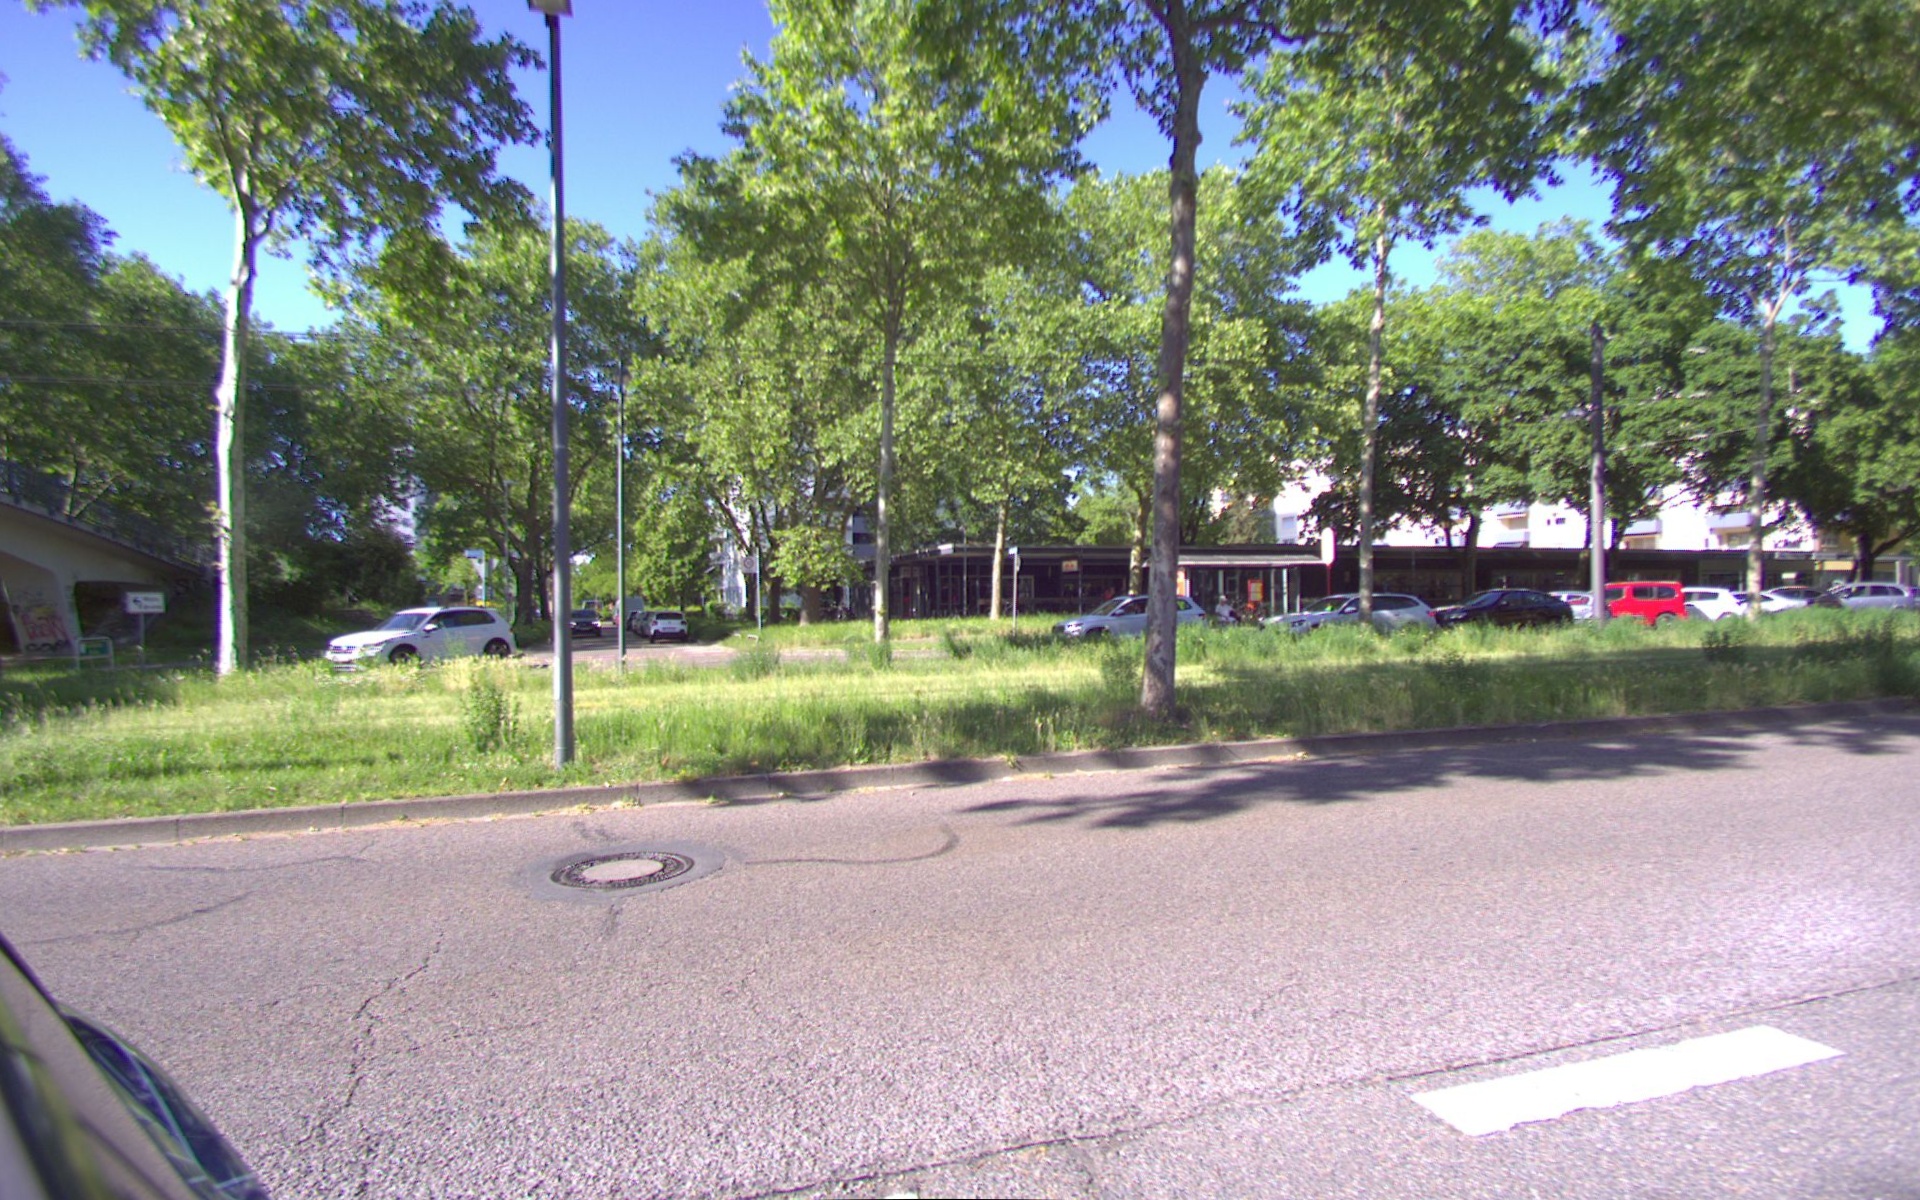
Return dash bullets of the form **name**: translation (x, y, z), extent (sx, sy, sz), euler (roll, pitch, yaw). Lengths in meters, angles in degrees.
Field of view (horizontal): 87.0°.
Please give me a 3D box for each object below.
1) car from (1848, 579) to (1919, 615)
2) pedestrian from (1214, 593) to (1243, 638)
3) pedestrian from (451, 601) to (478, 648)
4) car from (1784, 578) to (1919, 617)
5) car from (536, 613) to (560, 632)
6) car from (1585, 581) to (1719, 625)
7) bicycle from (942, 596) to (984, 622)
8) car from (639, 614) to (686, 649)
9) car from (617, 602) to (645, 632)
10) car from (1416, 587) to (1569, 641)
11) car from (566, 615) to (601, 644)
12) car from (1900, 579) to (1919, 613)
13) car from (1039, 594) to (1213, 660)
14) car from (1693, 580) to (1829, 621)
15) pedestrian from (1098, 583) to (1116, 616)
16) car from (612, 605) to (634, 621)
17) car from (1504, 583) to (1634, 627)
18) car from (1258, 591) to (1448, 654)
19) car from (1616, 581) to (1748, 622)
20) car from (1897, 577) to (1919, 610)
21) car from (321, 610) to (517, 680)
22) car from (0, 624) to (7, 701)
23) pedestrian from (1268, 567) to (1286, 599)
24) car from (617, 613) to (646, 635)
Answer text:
- **car**: translation (41.457, -0.155, 43.954), extent (3.983, 1.522, 1.782), euler (-1, 0, 29)
- **pedestrian**: translation (8.884, 0.504, 33.507), extent (0.639, 1.471, 0.652), euler (-1, 0, -13)
- **pedestrian**: translation (-18.998, 0.940, 38.835), extent (0.644, 1.796, 0.647), euler (-2, 0, 14)
- **car**: translation (37.643, -0.097, 42.825), extent (3.983, 1.522, 1.782), euler (-1, 0, 29)
- **car**: translation (-34.537, 1.841, 84.929), extent (1.769, 1.522, 4.013), euler (-1, 0, -21)
- **car**: translation (26.044, 0.129, 38.270), extent (3.983, 1.522, 1.782), euler (-1, 0, 29)
- **bicycle**: translation (0.127, 0.412, 44.829), extent (1.769, 1.116, 0.558), euler (-1, 0, -23)
- **car**: translation (-13.999, 1.424, 47.504), extent (1.769, 1.522, 4.013), euler (-1, 0, -21)
- **car**: translation (-28.438, 1.427, 87.450), extent (2.027, 2.455, 5.025), euler (-1, 0, -21)
- **car**: translation (16.484, 0.429, 31.414), extent (3.933, 1.522, 1.805), euler (-1, 0, -13)
- **car**: translation (-21.244, 1.615, 57.141), extent (1.769, 1.522, 4.013), euler (-1, 0, -21)
- **car**: translation (44.838, -0.217, 45.067), extent (3.983, 1.522, 1.782), euler (-1, 0, 29)
- **car**: translation (4.463, 0.703, 27.332), extent (4.216, 1.592, 1.805), euler (-1, 0, -14)
- **car**: translation (32.093, 0.027, 40.686), extent (3.983, 1.522, 1.782), euler (-1, 0, 29)
- **pedestrian**: translation (7.363, -0.024, 50.698), extent (0.639, 1.674, 0.652), euler (-1, 0, -20)
- **car**: translation (-33.637, 1.343, 100.957), extent (1.833, 1.522, 4.013), euler (-1, 0, -21)
- **car**: translation (22.456, 0.196, 37.504), extent (3.983, 1.522, 1.782), euler (-1, 0, 29)
- **car**: translation (10.564, 0.575, 27.237), extent (4.595, 1.522, 1.805), euler (-1, 0, -17)
- **car**: translation (28.290, 0.077, 39.828), extent (3.983, 1.522, 1.782), euler (-1, 0, 29)
- **car**: translation (46.400, -0.332, 46.928), extent (3.983, 1.522, 1.782), euler (-1, 0, 29)
- **car**: translation (-13.100, 1.040, 24.788), extent (1.787, 1.522, 4.059), euler (-1, 0, 21)
- **car**: translation (-21.462, 1.324, 19.443), extent (4.213, 1.578, 1.806), euler (-1, 0, -21)
- **pedestrian**: translation (17.145, -0.913, 54.769), extent (0.639, 1.674, 0.652), euler (-1, 0, -20)
- **car**: translation (-23.688, 1.730, 72.954), extent (1.769, 1.522, 4.013), euler (-1, 0, -21)
